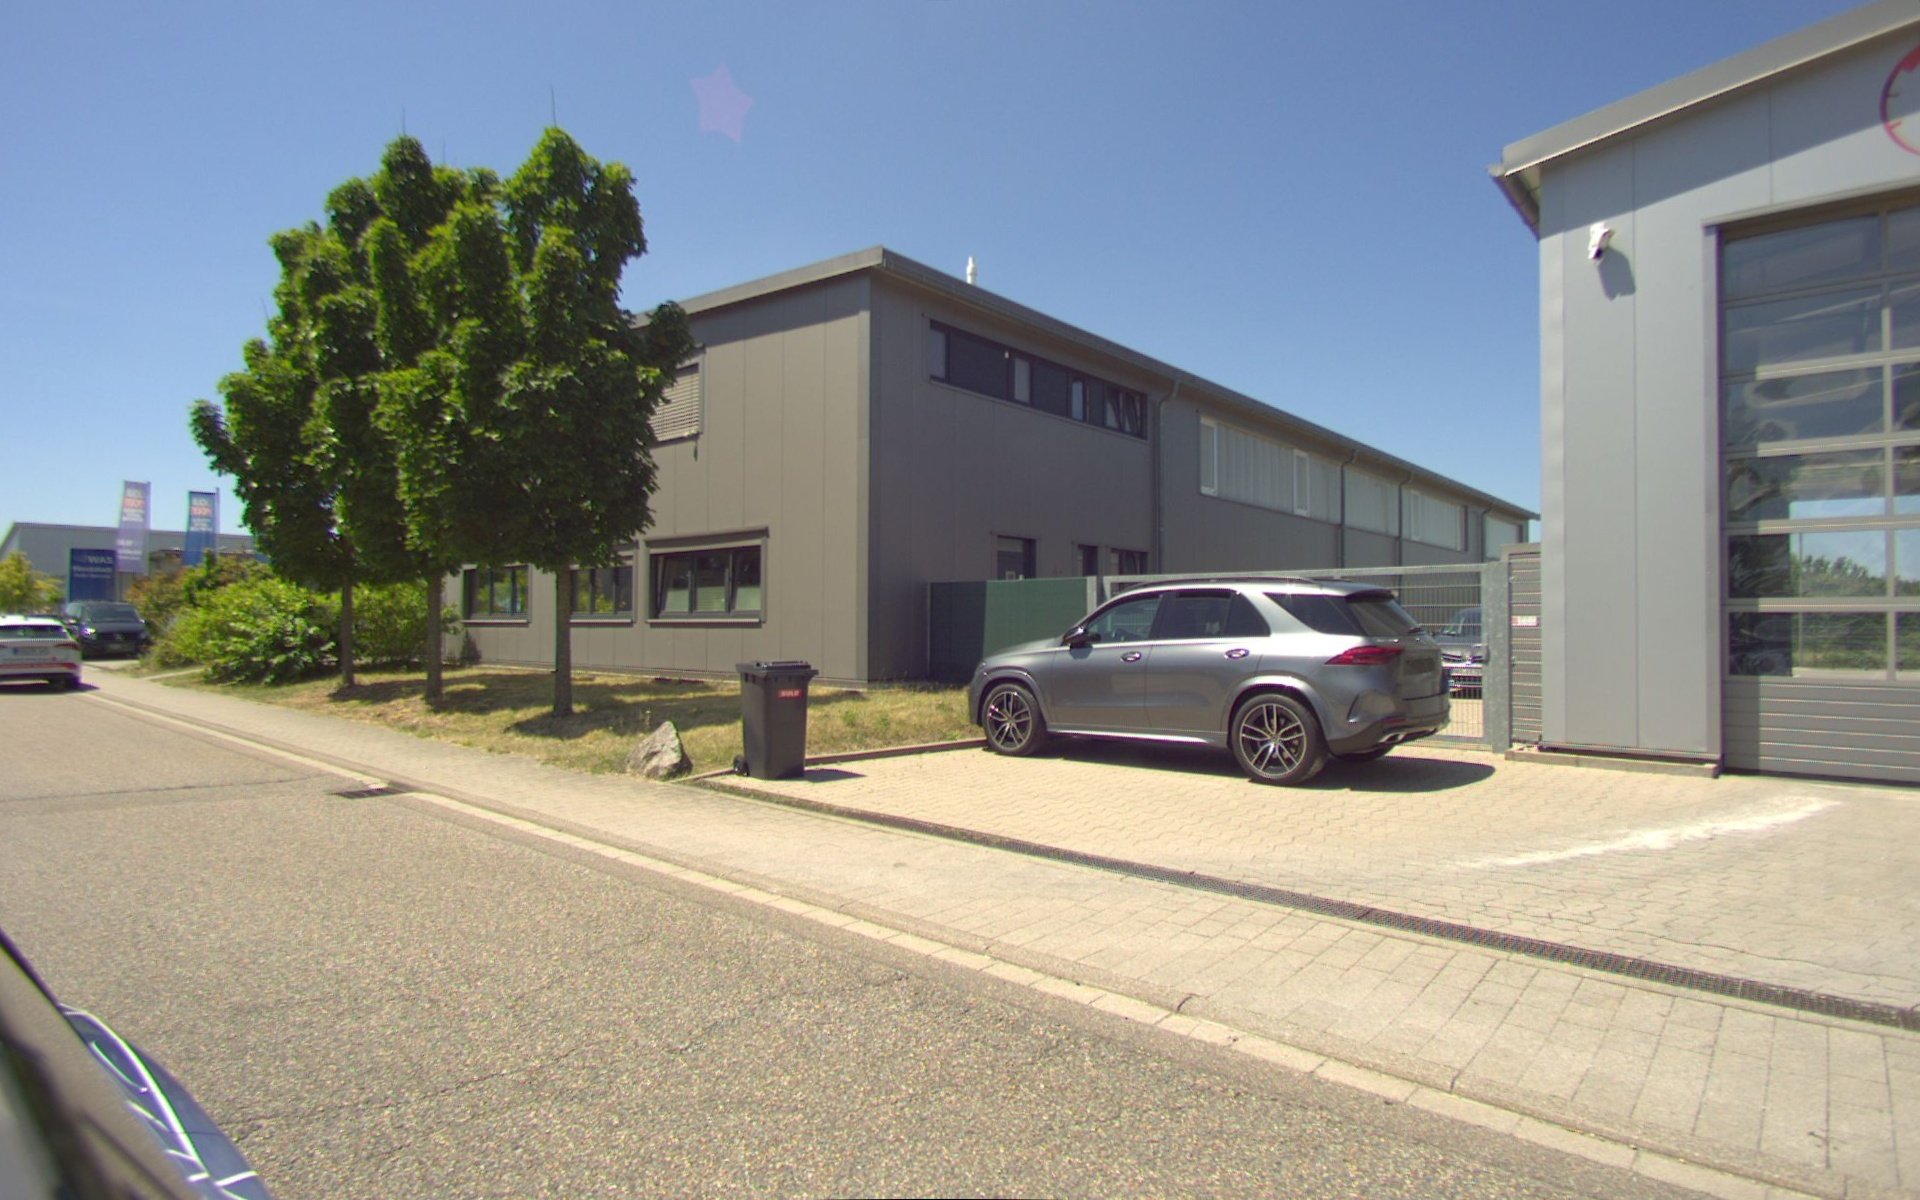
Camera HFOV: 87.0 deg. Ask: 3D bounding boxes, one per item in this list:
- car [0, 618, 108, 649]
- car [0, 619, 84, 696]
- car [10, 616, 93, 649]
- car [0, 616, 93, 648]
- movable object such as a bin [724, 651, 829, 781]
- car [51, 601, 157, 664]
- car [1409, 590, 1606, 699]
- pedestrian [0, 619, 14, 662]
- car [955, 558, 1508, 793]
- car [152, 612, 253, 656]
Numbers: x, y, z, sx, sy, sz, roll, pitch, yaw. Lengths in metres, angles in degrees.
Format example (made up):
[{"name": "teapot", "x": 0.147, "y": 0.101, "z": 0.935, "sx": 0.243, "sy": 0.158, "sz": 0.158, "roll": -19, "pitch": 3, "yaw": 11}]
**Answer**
[{"name": "car", "x": -44.194, "y": 1.612, "z": 49.002, "sx": 1.846, "sy": 1.442, "sz": 4.262, "roll": -1, "pitch": -2, "yaw": 42}, {"name": "car", "x": -19.884, "y": 1.129, "z": 21.191, "sx": 4.489, "sy": 1.469, "sz": 1.712, "roll": -1, "pitch": -1, "yaw": 41}, {"name": "car", "x": -42.715, "y": 1.524, "z": 47.609, "sx": 1.534, "sy": 1.529, "sz": 2.713, "roll": -1, "pitch": -2, "yaw": 40}, {"name": "car", "x": -46.357, "y": 1.596, "z": 50.699, "sx": 1.865, "sy": 1.529, "sz": 4.219, "roll": -1, "pitch": -2, "yaw": 40}, {"name": "movable object such as a bin", "x": -1.670, "y": 1.024, "z": 9.215, "sx": 0.765, "sy": 1.073, "sz": 0.573, "roll": -1, "pitch": 0, "yaw": 41}, {"name": "car", "x": -29.023, "y": 1.064, "z": 34.235, "sx": 5.215, "sy": 1.971, "sz": 1.973, "roll": -1, "pitch": -1, "yaw": 41}, {"name": "car", "x": 10.196, "y": 0.734, "z": 18.658, "sx": 2.000, "sy": 1.748, "sz": 4.843, "roll": -2, "pitch": -1, "yaw": 43}, {"name": "pedestrian", "x": -35.788, "y": 1.498, "z": 37.574, "sx": 0.785, "sy": 1.586, "sz": 0.889, "roll": -2, "pitch": -1, "yaw": 42}, {"name": "car", "x": 2.386, "y": 0.628, "z": 9.970, "sx": 4.915, "sy": 1.748, "sz": 1.971, "roll": -2, "pitch": -1, "yaw": 45}, {"name": "car", "x": -26.858, "y": 1.162, "z": 35.816, "sx": 4.767, "sy": 1.427, "sz": 1.911, "roll": -1, "pitch": 0, "yaw": 41}]
